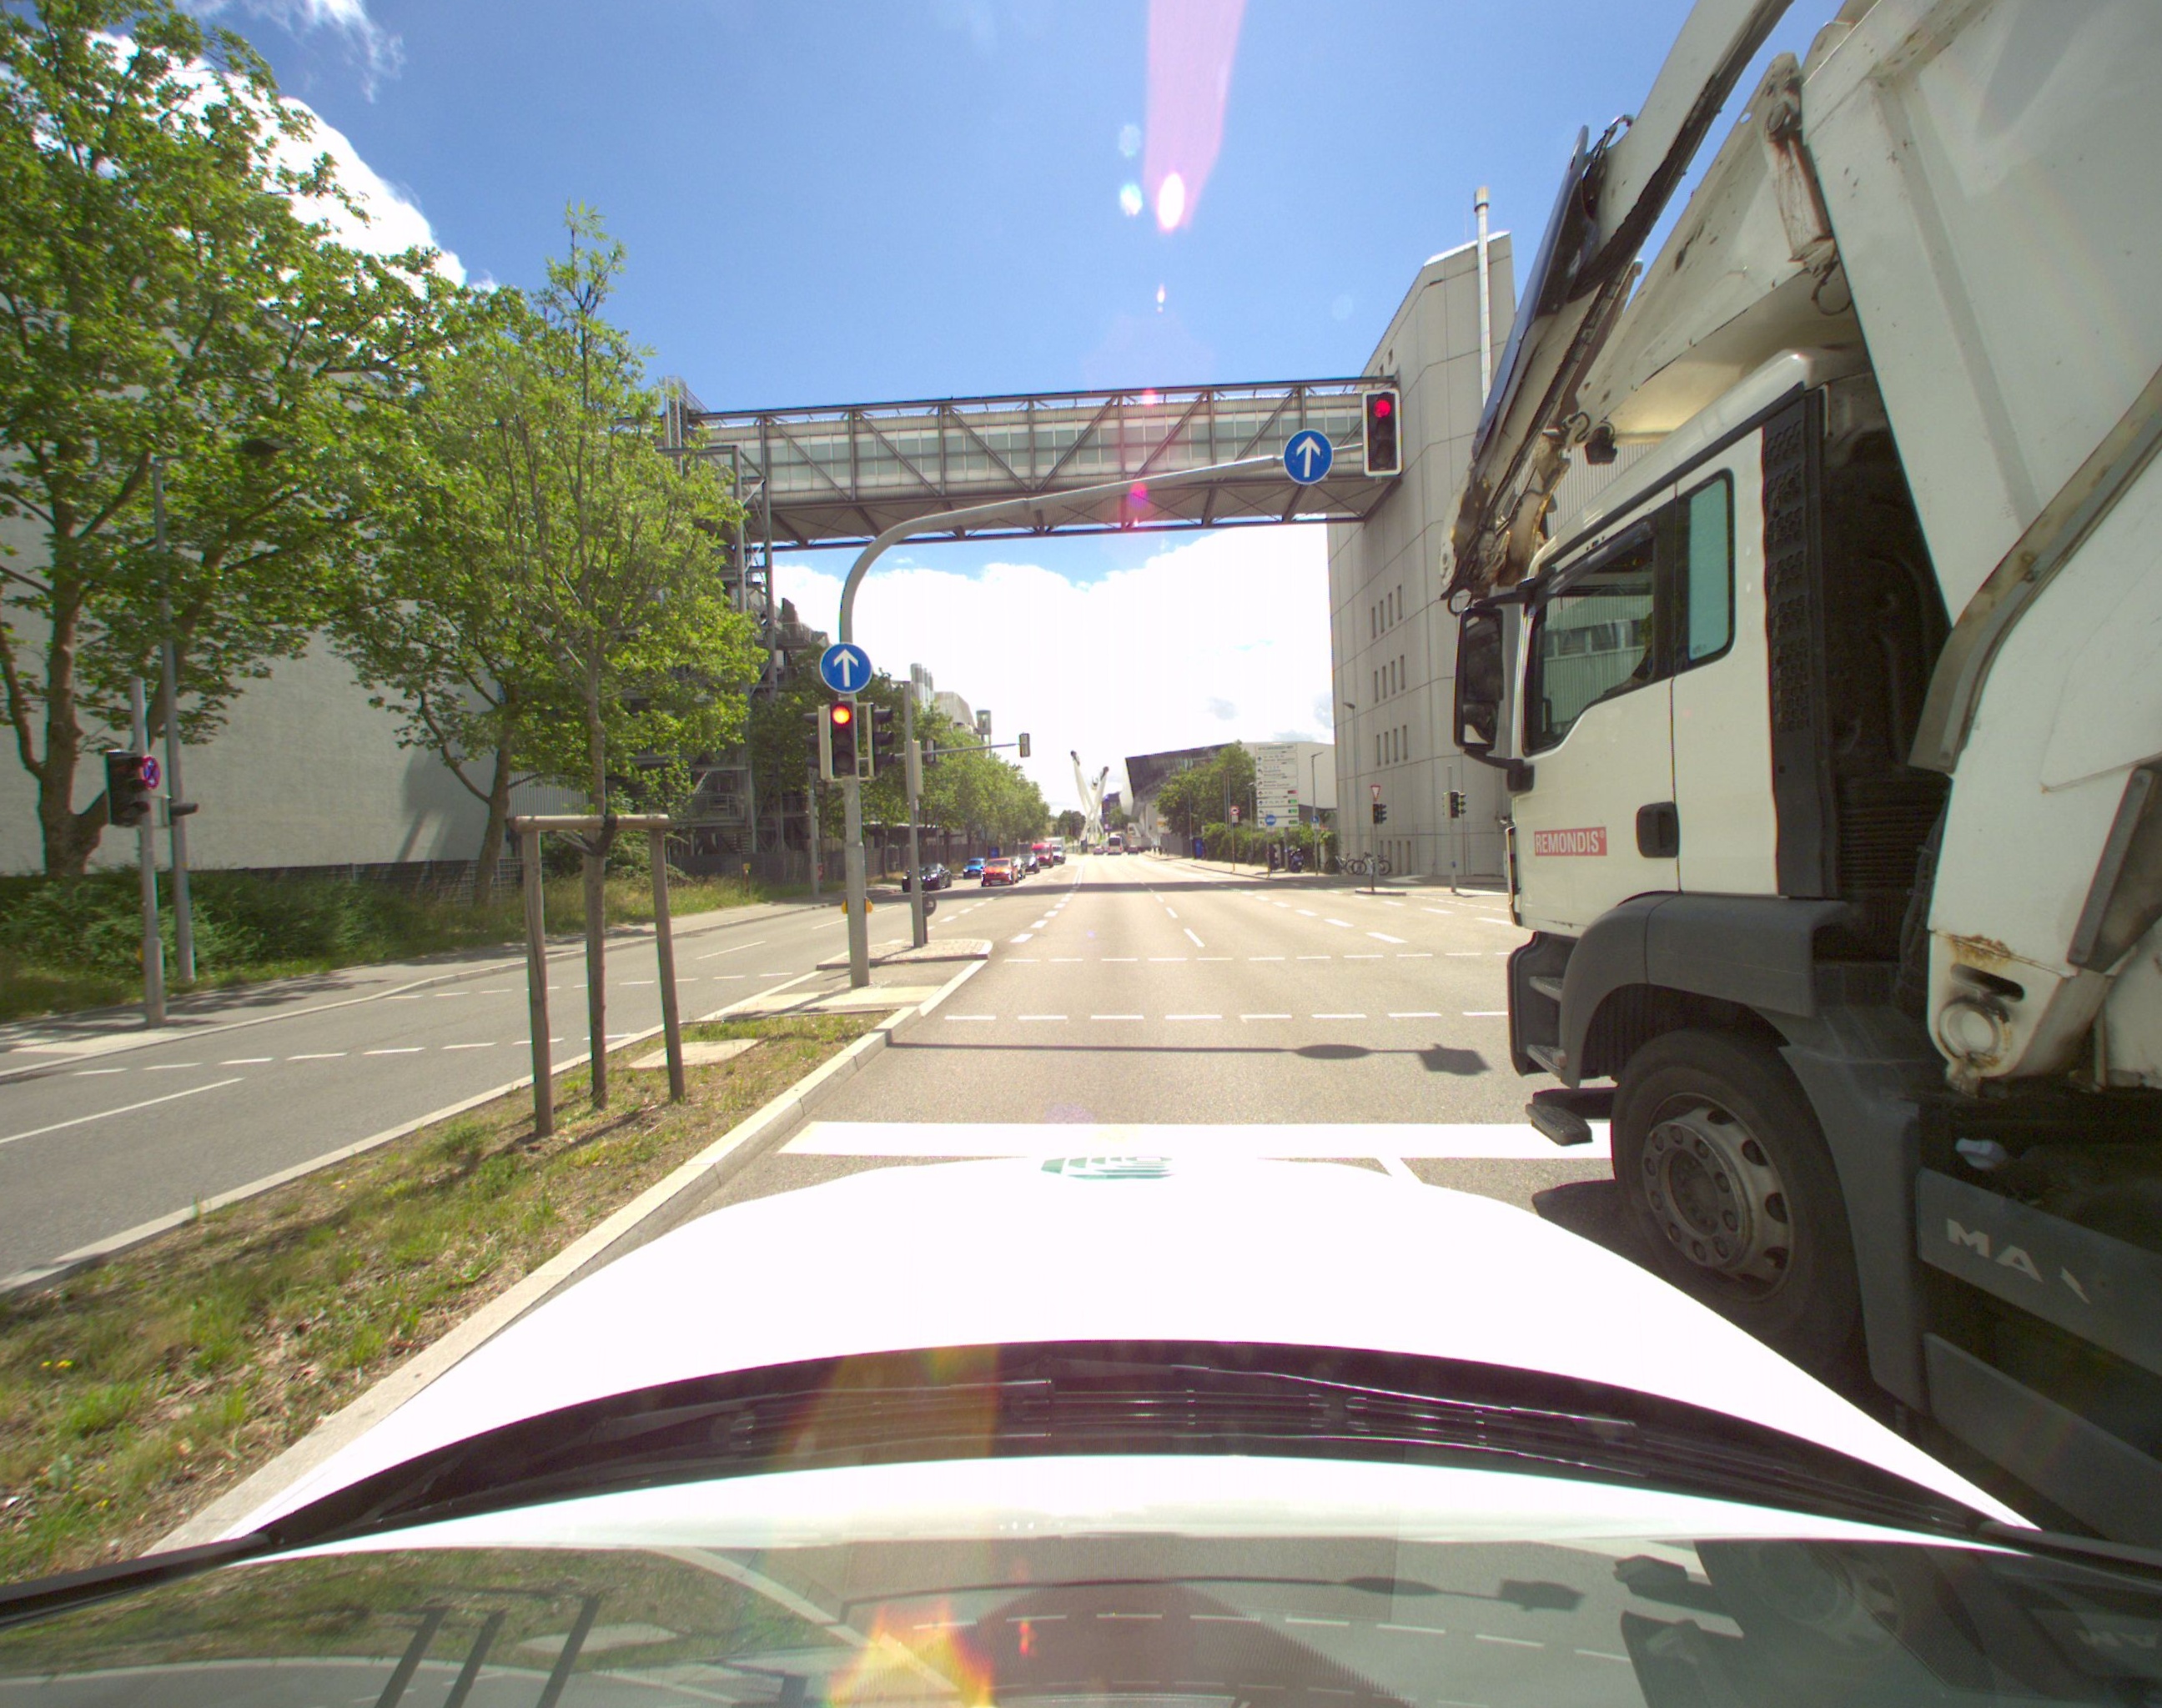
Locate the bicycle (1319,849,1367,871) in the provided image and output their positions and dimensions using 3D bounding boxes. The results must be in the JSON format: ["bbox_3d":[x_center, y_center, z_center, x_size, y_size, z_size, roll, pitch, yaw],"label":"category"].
[{"bbox_3d":[13.082,0.290,40.699,2.196,1.086,0.480,-1,-1,37],"label":"bicycle"}]

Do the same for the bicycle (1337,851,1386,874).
[{"bbox_3d":[13.567,0.414,39.496,2.196,1.086,0.480,-1,-1,37],"label":"bicycle"}]

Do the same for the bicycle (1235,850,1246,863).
[{"bbox_3d":[12.727,0.189,65.124,0.417,1.022,1.911,0,-1,-2],"label":"bicycle"}]

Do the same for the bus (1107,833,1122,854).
[{"bbox_3d":[6.196,-1.846,150.212,2.776,3.686,6.947,0,-1,3],"label":"bus"}]

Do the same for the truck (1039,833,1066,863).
[{"bbox_3d":[-3.249,-0.646,94.386,2.581,3.324,7.083,0,-1,3],"label":"truck"}]

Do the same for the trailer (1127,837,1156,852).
[{"bbox_3d":[12.878,-2.005,172.146,3.291,2.995,10.429,-1,-1,21],"label":"trailer"}]

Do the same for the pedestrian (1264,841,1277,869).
[{"bbox_3d":[11.260,0.039,48.424,0.532,1.640,0.657,0,-1,-4],"label":"pedestrian"}]

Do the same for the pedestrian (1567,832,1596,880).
[{"bbox_3d":[19.273,0.073,31.355,0.704,1.793,0.697,-4,0,16],"label":"pedestrian"}]

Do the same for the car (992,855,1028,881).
[{"bbox_3d":[-4.498,0.871,52.056,1.762,1.420,3.704,-4,0,3],"label":"car"}]

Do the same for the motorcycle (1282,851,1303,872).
[{"bbox_3d":[11.649,0.409,44.889,0.418,1.166,1.951,0,-1,-9],"label":"motorcycle"}]

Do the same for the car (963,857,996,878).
[{"bbox_3d":[-7.548,1.008,60.703,1.720,1.382,3.704,-4,0,3],"label":"car"}]

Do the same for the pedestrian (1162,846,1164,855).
[{"bbox_3d":[13.024,-0.550,129.612,0.384,1.421,0.424,0,-1,2],"label":"pedestrian"}]

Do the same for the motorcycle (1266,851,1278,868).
[{"bbox_3d":[12.174,0.350,51.866,0.455,1.022,1.914,0,-1,4],"label":"motorcycle"}]

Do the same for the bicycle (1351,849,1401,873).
[{"bbox_3d":[13.975,0.332,38.606,2.166,1.086,0.480,-1,-1,37],"label":"bicycle"}]

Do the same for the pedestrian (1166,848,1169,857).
[{"bbox_3d":[14.187,-0.225,133.282,0.384,1.421,0.424,0,-1,2],"label":"pedestrian"}]

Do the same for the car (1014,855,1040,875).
[{"bbox_3d":[-4.227,0.842,63.908,1.551,1.448,3.775,-4,0,3],"label":"car"}]

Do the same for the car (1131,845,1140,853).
[{"bbox_3d":[9.773,-0.872,146.119,1.551,1.273,3.704,-4,0,3],"label":"car"}]

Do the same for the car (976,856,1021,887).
[{"bbox_3d":[-4.410,0.914,43.923,1.762,1.420,3.704,-4,0,3],"label":"car"}]

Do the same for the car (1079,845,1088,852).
[{"bbox_3d":[0.527,-1.076,155.875,1.551,1.273,3.704,-4,0,3],"label":"car"}]

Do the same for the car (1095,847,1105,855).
[{"bbox_3d":[3.438,-0.558,148.902,1.551,1.273,3.704,-4,0,3],"label":"car"}]

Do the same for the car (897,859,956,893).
[{"bbox_3d":[-8.097,1.122,43.200,1.910,1.488,4.775,-4,0,3],"label":"car"}]

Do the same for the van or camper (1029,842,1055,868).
[{"bbox_3d":[-3.810,0.050,80.599,2.038,2.466,5.598,-1,0,3],"label":"van or camper"}]

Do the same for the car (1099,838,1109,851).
[{"bbox_3d":[4.912,-2.057,171.302,1.835,2.624,4.005,0,-1,5],"label":"car"}]

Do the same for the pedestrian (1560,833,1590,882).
[{"bbox_3d":[18.643,0.136,30.748,0.704,1.793,0.646,-4,0,15],"label":"pedestrian"}]

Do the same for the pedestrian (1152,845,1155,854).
[{"bbox_3d":[11.866,-0.706,133.493,0.384,1.421,0.424,0,-1,2],"label":"pedestrian"}]
